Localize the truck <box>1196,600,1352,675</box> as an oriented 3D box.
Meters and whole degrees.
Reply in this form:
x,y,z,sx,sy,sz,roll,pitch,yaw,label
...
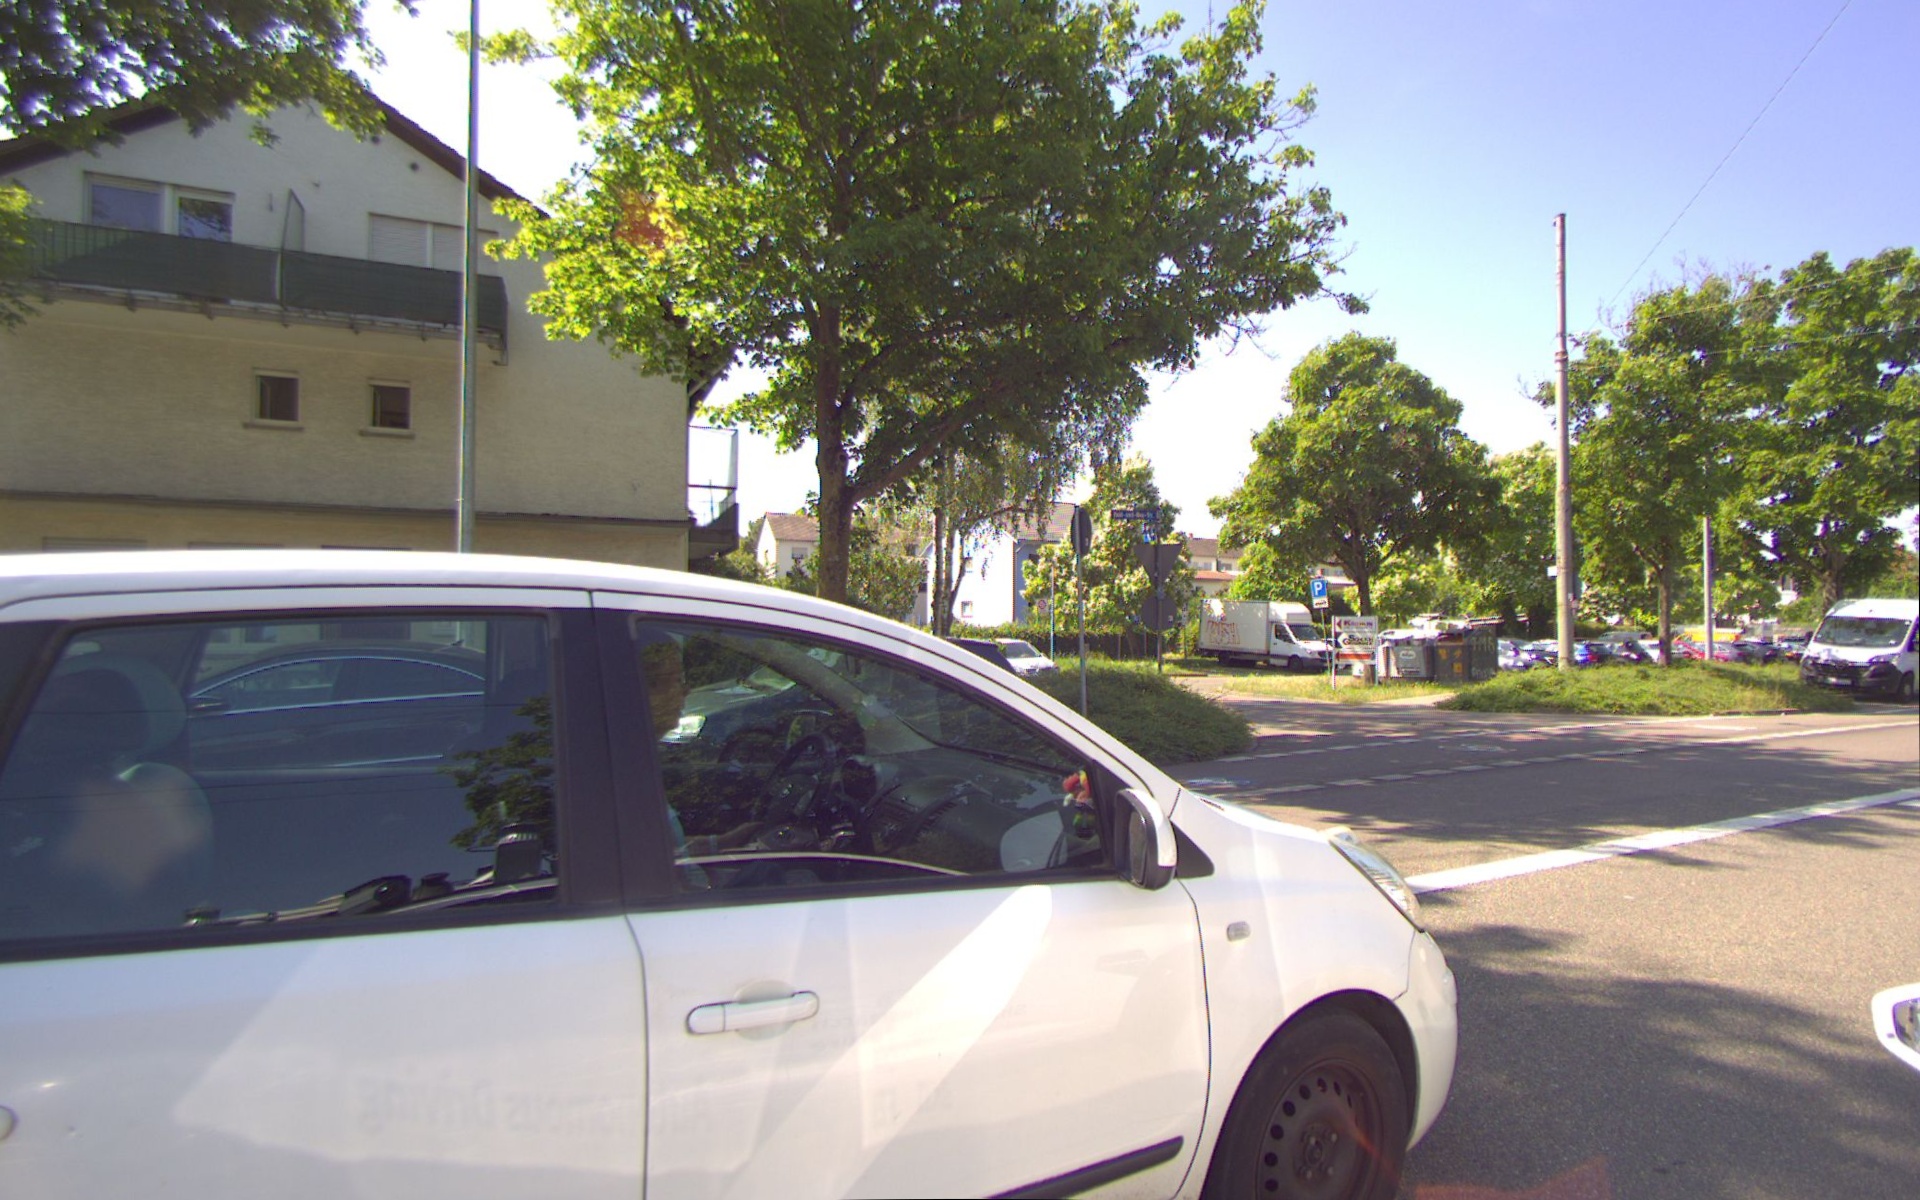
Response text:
x,y,z,sx,sy,sz,roll,pitch,yaw,label
14.438,1.617,46.801,2.646,3.151,6.967,1,0,-30,truck

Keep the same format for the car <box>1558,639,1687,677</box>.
x,y,z,sx,sy,sz,roll,pitch,yaw,label
26.362,2.330,40.094,1.712,1.434,3.964,2,-4,-33,car

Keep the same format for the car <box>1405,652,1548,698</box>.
x,y,z,sx,sy,sz,roll,pitch,yaw,label
17.333,2.491,33.899,1.712,1.434,3.964,2,-4,-33,car

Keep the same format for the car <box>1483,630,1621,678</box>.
x,y,z,sx,sy,sz,roll,pitch,yaw,label
21.425,1.973,36.507,1.712,1.631,3.964,2,-4,-33,car

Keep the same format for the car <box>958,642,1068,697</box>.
x,y,z,sx,sy,sz,roll,pitch,yaw,label
1.421,1.948,28.440,1.704,1.434,3.983,1,-3,-20,car

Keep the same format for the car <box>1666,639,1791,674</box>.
x,y,z,sx,sy,sz,roll,pitch,yaw,label
33.173,2.448,43.452,1.712,1.434,3.964,2,-4,-33,car

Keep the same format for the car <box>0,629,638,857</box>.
x,y,z,sx,sy,sz,roll,pitch,yaw,label
-5.239,1.007,8.389,4.568,1.434,1.854,1,0,-31,car

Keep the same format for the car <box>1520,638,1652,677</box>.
x,y,z,sx,sy,sz,roll,pitch,yaw,label
24.030,2.211,38.663,1.712,1.434,3.964,2,-4,-33,car

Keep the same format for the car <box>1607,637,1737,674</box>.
x,y,z,sx,sy,sz,roll,pitch,yaw,label
28.840,2.245,40.782,1.712,1.434,3.964,2,-4,-33,car

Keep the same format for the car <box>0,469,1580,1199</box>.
x,y,z,sx,sy,sz,roll,pitch,yaw,label
-0.762,0.667,2.146,4.493,1.568,1.654,1,-1,-30,car

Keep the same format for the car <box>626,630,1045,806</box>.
x,y,z,sx,sy,sz,roll,pitch,yaw,label
-1.264,1.097,10.483,3.988,1.462,1.718,1,0,-28,car

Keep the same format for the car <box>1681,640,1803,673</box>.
x,y,z,sx,sy,sz,roll,pitch,yaw,label
34.931,2.533,44.963,1.712,1.434,3.964,2,-4,-33,car

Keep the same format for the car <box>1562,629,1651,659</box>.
x,y,z,sx,sy,sz,roll,pitch,yaw,label
44.529,2.990,69.294,2.043,1.811,4.762,2,0,-34,car

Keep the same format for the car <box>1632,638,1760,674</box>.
x,y,z,sx,sy,sz,roll,pitch,yaw,label
30.751,2.335,42.082,1.712,1.434,3.964,2,-4,-33,car

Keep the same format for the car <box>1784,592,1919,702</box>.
x,y,z,sx,sy,sz,roll,pitch,yaw,label
23.839,1.144,25.794,5.745,2.550,2.114,1,0,-29,car

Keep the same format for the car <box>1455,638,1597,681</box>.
x,y,z,sx,sy,sz,roll,pitch,yaw,label
19.706,2.077,35.122,1.712,1.434,3.964,2,-4,-33,car

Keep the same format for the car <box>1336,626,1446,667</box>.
x,y,z,sx,sy,sz,roll,pitch,yaw,label
21.646,2.324,50.669,2.043,1.811,4.762,2,0,-34,car

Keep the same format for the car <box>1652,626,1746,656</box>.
x,y,z,sx,sy,sz,roll,pitch,yaw,label
50.527,2.774,68.801,2.043,1.811,4.762,2,0,-34,car
